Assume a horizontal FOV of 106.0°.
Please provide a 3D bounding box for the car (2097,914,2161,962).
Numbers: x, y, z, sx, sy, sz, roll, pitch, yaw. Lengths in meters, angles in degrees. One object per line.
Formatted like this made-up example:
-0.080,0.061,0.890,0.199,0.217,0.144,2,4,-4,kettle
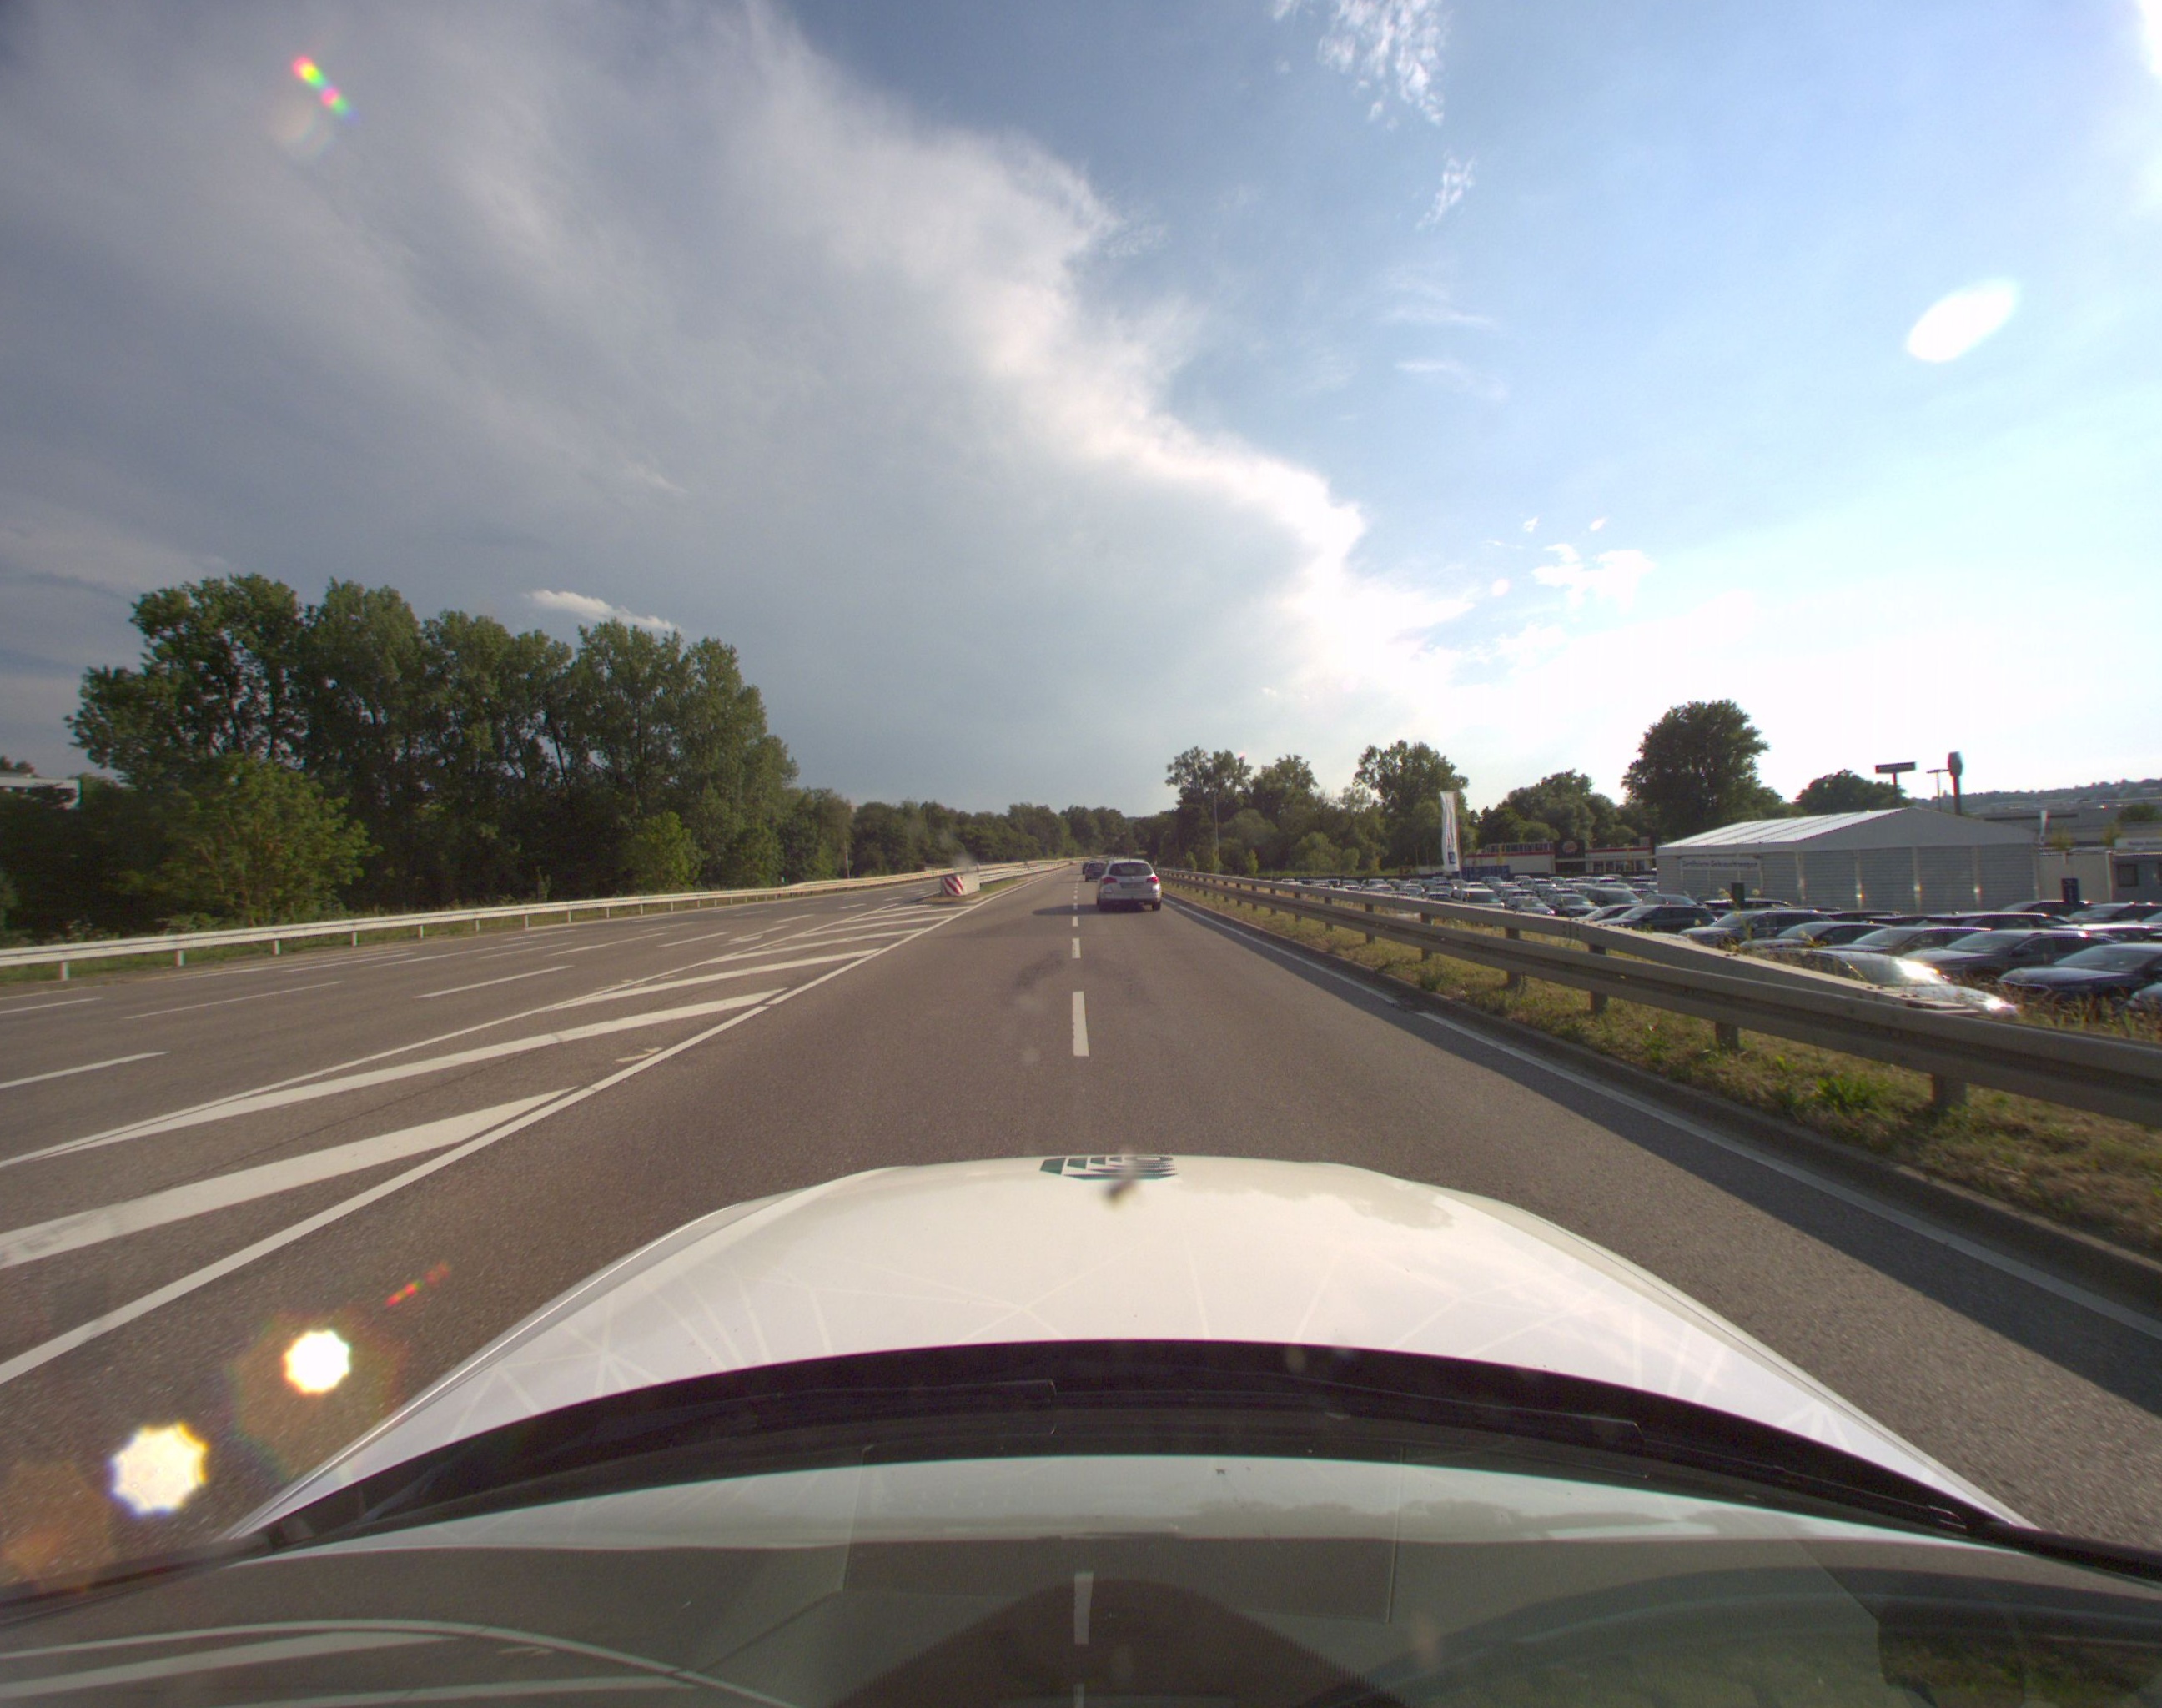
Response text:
36.301,2.721,26.384,3.960,1.456,1.786,-1,-2,12,car

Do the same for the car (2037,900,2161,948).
37.188,2.463,28.905,3.961,1.565,1.787,-1,-2,11,car

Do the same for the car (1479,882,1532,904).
33.329,3.037,64.105,1.872,1.636,4.733,0,-1,3,car

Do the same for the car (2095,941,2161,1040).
20.817,2.381,13.837,4.401,1.636,1.890,0,-2,7,car

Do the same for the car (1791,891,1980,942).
27.707,2.130,28.194,4.401,1.636,1.890,0,-2,7,car

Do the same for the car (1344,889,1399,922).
16.344,2.865,46.030,1.870,1.626,4.736,0,-1,6,car

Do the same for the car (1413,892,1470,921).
22.252,3.213,50.458,1.870,1.636,4.737,0,-1,6,car

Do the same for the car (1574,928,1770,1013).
14.712,2.828,20.622,1.733,1.626,4.307,0,-1,-2,car

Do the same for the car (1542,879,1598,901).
38.169,2.779,63.671,1.870,1.636,4.736,0,-1,5,car

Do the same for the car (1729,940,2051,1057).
14.900,2.580,15.445,1.788,1.543,4.434,0,-1,2,car

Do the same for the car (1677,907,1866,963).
22.346,2.590,26.517,4.394,1.667,1.845,0,-2,7,car

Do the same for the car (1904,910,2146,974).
27.121,2.530,23.556,4.394,1.704,1.804,-2,-5,7,car

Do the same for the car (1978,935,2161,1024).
21.245,2.466,16.228,4.394,1.543,1.804,0,-2,7,car

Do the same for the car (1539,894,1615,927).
26.108,2.934,43.035,1.868,1.522,4.743,-1,-1,10,car

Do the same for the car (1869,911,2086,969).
28.068,2.661,25.639,4.401,1.636,1.890,0,-2,7,car

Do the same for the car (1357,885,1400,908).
23.474,3.330,64.418,1.872,1.636,4.731,0,-1,2,car

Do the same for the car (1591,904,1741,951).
22.577,2.812,31.574,4.394,1.607,1.805,0,0,7,car

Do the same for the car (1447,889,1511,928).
21.465,2.891,44.091,1.868,1.931,4.743,-1,-1,10,car

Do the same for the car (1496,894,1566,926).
23.865,2.930,43.399,1.868,1.522,4.743,-1,-1,10,car

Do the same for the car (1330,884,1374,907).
21.184,3.219,63.871,1.829,1.716,4.665,0,-1,0,car

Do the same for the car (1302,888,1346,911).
18.908,3.517,63.627,1.993,1.651,4.727,0,-1,0,car

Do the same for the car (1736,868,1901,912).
28.297,1.373,31.391,4.401,1.636,1.890,0,-2,7,car

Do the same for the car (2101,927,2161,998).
27.015,2.517,18.726,4.394,1.543,1.804,0,-2,7,car

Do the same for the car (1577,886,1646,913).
35.223,2.979,54.224,1.870,1.636,4.736,0,-1,6,car

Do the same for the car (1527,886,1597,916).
29.295,2.828,49.739,1.870,1.636,4.737,0,-1,6,car

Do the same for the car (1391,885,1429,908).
25.857,3.310,64.152,1.765,1.684,4.007,0,-1,7,car

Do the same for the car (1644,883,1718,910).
39.887,2.800,54.311,1.870,1.636,4.580,0,-1,6,car

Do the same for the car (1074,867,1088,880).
0.038,2.285,93.487,1.487,1.476,3.359,0,-1,1,car

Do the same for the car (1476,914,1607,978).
14.438,2.834,25.837,1.731,1.626,4.310,0,-1,0,car

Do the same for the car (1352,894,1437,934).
14.481,2.736,37.941,1.876,1.626,4.722,0,-1,-4,car

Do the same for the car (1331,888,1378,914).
18.857,3.195,56.406,1.872,1.636,4.732,0,-1,2,car

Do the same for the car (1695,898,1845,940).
28.472,2.662,33.791,4.401,1.636,1.890,0,-2,7,car

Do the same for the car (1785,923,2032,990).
21.674,2.660,21.514,4.394,1.543,1.804,0,-2,7,car

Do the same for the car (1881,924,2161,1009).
21.716,2.550,18.806,4.394,1.714,1.804,0,-2,7,car

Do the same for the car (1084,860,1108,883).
1.087,1.247,57.712,1.661,1.574,4.000,0,-1,1,car

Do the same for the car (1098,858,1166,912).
1.452,0.911,24.439,1.803,1.486,3.999,0,-1,0,car

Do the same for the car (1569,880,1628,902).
39.957,2.849,63.021,1.870,1.636,4.736,0,-1,5,car

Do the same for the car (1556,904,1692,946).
22.781,2.967,34.330,4.401,1.636,1.890,0,-2,7,car

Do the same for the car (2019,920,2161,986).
27.721,2.530,21.095,4.394,1.543,1.804,0,-2,7,car

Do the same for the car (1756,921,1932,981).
22.376,2.814,24.002,3.456,1.574,1.632,0,-2,8,car

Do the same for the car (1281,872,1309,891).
19.479,2.471,74.428,1.767,1.684,4.004,0,-1,4,car

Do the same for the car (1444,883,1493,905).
30.284,3.079,63.749,1.871,1.636,4.734,0,-1,4,car

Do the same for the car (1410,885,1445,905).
31.131,3.678,73.248,1.766,1.684,4.005,0,-1,5,car
